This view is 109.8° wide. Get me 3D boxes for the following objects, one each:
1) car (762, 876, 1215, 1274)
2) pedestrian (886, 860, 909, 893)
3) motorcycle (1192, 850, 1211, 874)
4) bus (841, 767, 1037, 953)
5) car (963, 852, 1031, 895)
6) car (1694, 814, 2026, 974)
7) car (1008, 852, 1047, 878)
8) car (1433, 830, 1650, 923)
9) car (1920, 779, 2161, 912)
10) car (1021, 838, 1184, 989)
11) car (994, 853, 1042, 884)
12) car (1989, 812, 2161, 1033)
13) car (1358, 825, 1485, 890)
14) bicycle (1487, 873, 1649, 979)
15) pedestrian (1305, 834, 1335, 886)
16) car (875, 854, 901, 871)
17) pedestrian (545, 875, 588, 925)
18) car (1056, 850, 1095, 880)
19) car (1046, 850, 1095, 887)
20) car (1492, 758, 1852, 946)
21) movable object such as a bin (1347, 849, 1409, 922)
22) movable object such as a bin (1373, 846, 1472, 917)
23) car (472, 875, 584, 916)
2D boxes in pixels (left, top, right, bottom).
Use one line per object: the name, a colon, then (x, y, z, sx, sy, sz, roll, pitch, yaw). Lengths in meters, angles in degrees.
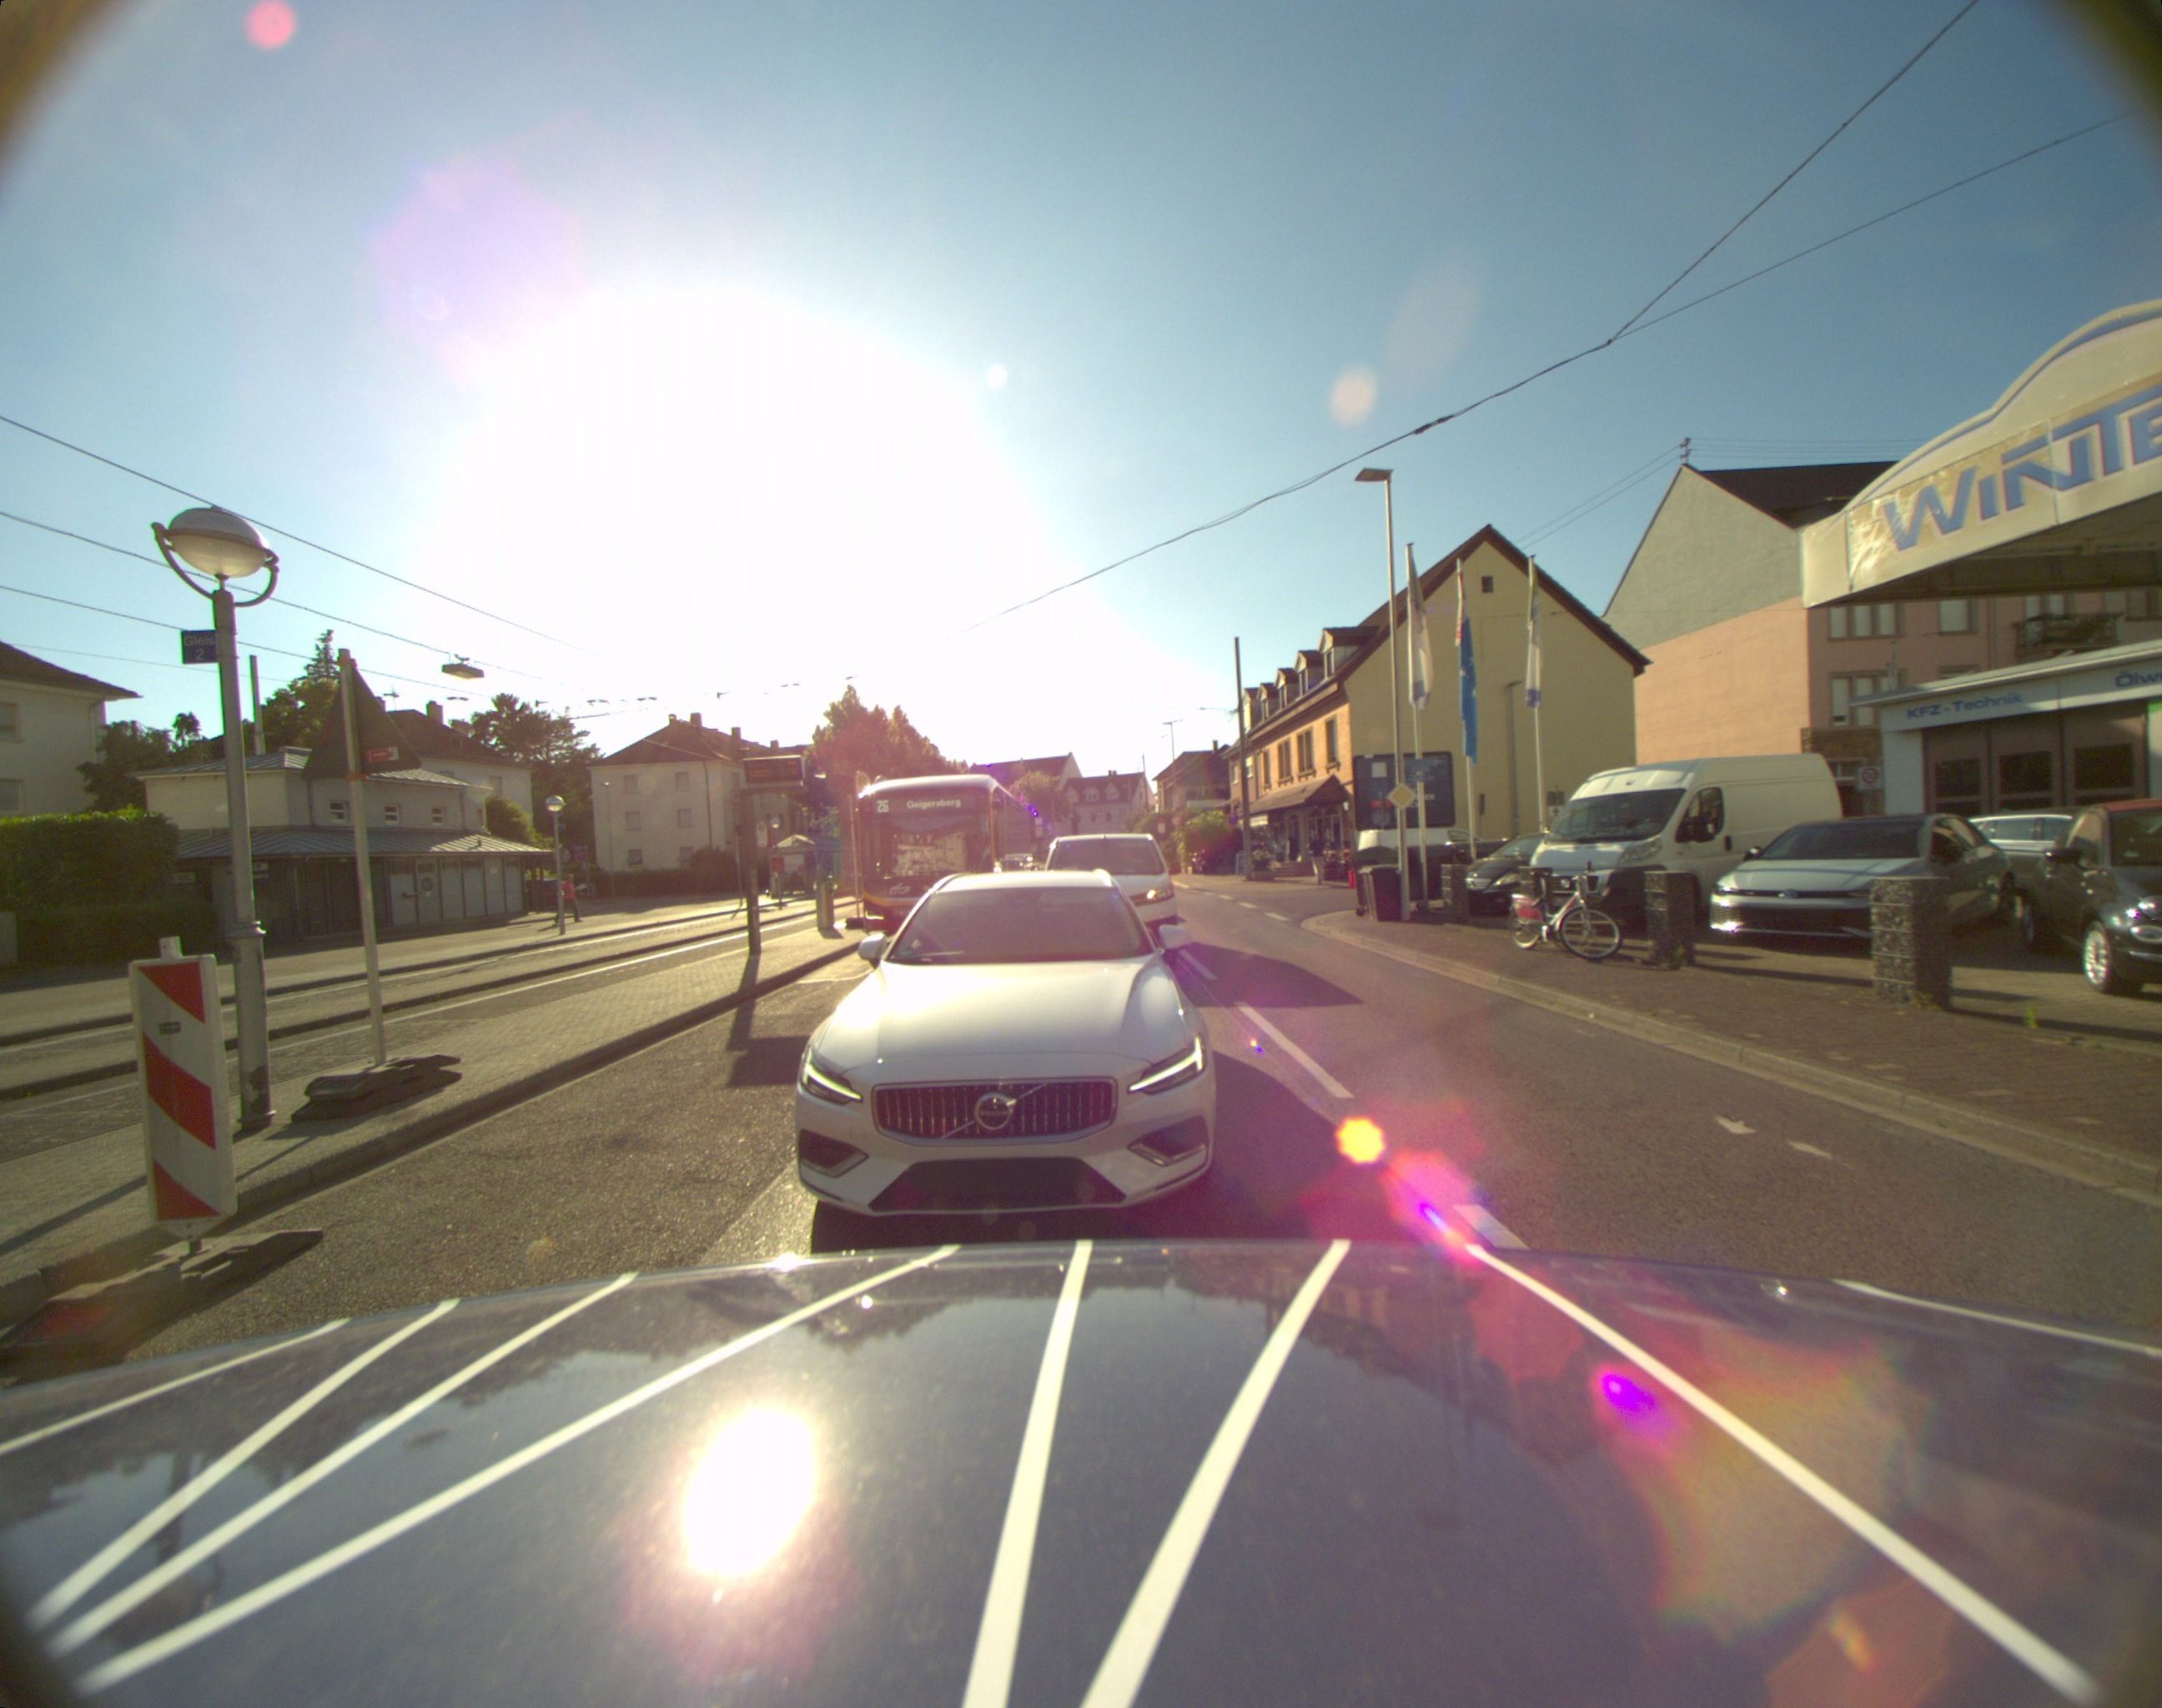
car: (-0.354, 0.982, 5.254, 1.821, 1.446, 4.217, -2, 0, 1)
pedestrian: (-9.014, 1.097, 37.329, 0.826, 1.601, 0.840, -3, 1, -30)
motorcycle: (6.351, 0.418, 40.118, 0.708, 1.210, 2.186, -2, 1, 3)
bus: (-2.921, 0.095, 19.831, 2.748, 3.284, 12.030, -2, 0, 0)
car: (-3.153, 0.706, 29.498, 1.969, 1.450, 4.824, -2, 0, 1)
car: (9.489, 0.360, 9.210, 4.036, 1.488, 1.739, -3, 1, -28)
car: (-3.274, 0.632, 47.302, 1.969, 1.450, 4.824, -2, 0, 1)
car: (8.966, 0.374, 14.745, 4.036, 1.469, 1.739, -3, 1, -28)
car: (16.479, -0.172, 11.986, 1.742, 1.933, 4.257, -3, 1, -1)
car: (0.302, 0.734, 12.008, 1.969, 1.816, 5.033, -2, 0, 1)
car: (-3.231, 0.706, 39.887, 1.969, 1.450, 4.824, -2, 0, 1)
car: (9.075, 0.413, 6.163, 1.590, 1.488, 3.442, -2, 1, 40)
car: (11.563, 0.098, 25.921, 3.672, 2.002, 1.451, -2, 1, -3)
bicycle: (5.881, 0.815, 9.312, 0.725, 1.080, 1.791, -3, 1, -3)
pedestrian: (8.721, 0.227, 27.753, 0.822, 1.842, 0.767, -2, 1, -1)
car: (-23.265, 1.020, 91.770, 1.998, 1.853, 3.999, -2, 1, 1)
pedestrian: (-18.125, 1.610, 26.780, 0.841, 1.708, 0.825, -2, 1, 4)
car: (-0.254, 0.567, 41.506, 1.969, 1.450, 4.824, -2, 0, 1)
car: (-0.393, 0.584, 33.259, 1.969, 1.450, 4.824, -2, 0, 1)
car: (9.142, -0.134, 11.759, 4.997, 2.440, 2.111, -3, 1, -22)
movable object such as a bin: (6.235, 0.642, 15.949, 1.045, 1.456, 0.797, -2, 1, 32)
movable object such as a bin: (7.592, 0.579, 16.912, 1.798, 1.456, 1.046, -3, 1, -25)
car: (-27.690, 2.048, 38.136, 4.052, 1.663, 2.000, -4, 1, 2)
